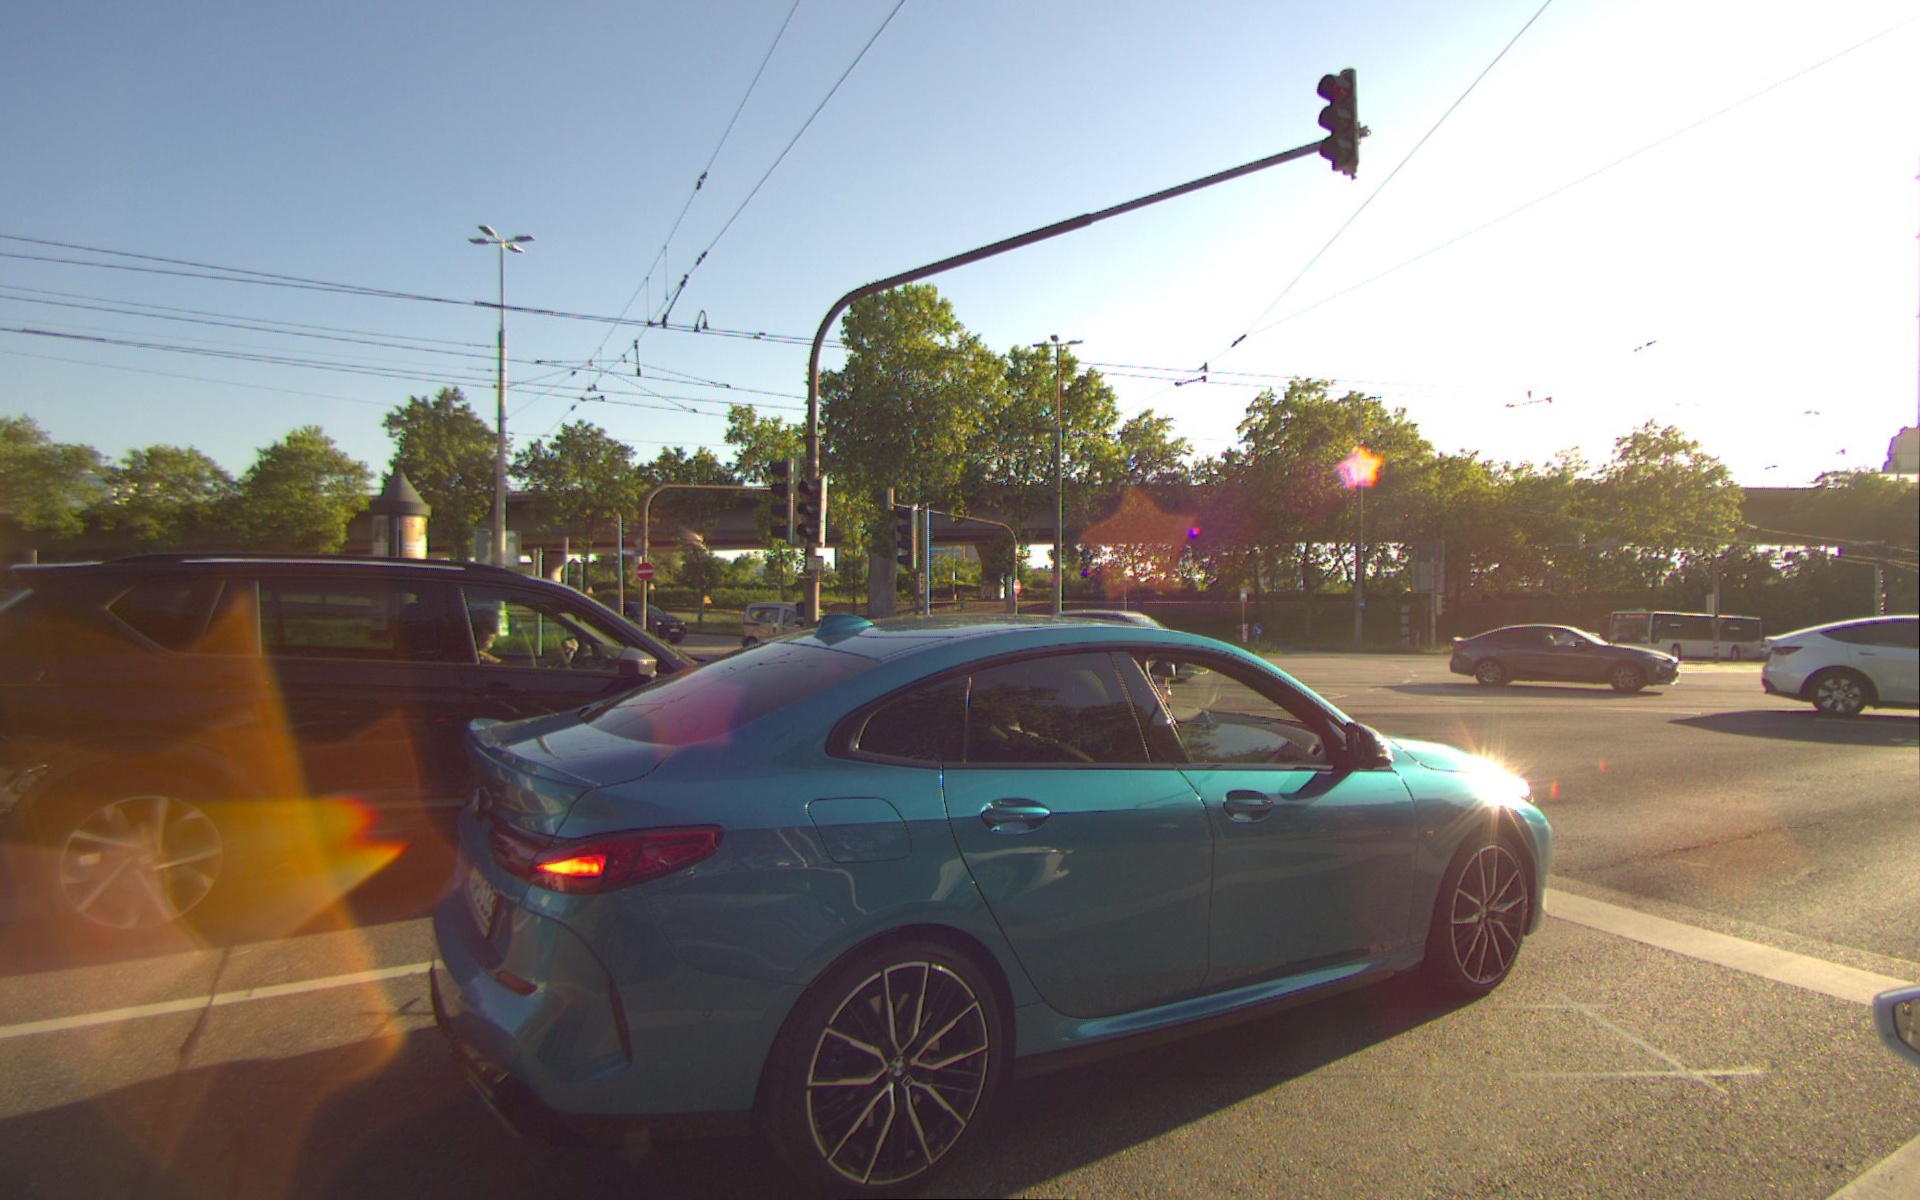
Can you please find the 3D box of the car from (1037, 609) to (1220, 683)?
[{"bbox_3d":[4.177,1.096,25.222,4.220,1.653,1.687,1,0,38],"label":"car"}]

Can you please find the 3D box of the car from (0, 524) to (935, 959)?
[{"bbox_3d":[-2.575,0.599,5.616,4.566,1.702,1.806,1,-1,-29],"label":"car"}]

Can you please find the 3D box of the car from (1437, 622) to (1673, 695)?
[{"bbox_3d":[13.496,1.268,22.940,4.424,1.387,1.685,1,-1,41],"label":"car"}]

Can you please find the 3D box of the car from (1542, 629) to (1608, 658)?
[{"bbox_3d":[35.069,2.461,57.283,3.964,1.532,1.598,2,0,-32],"label":"car"}]

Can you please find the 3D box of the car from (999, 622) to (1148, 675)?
[{"bbox_3d":[3.366,1.404,30.264,4.217,1.382,1.618,1,0,36],"label":"car"}]

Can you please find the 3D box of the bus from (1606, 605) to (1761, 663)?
[{"bbox_3d":[45.600,2.221,63.122,12.756,3.171,2.534,3,-2,-28],"label":"bus"}]

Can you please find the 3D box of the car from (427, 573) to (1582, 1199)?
[{"bbox_3d":[0.422,0.742,3.787,4.162,1.485,1.704,1,-1,-33],"label":"car"}]

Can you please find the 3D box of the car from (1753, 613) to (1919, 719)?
[{"bbox_3d":[15.544,1.057,15.876,4.695,1.595,1.686,1,-1,40],"label":"car"}]

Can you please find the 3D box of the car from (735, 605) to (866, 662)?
[{"bbox_3d":[-5.258,1.053,32.857,4.344,1.701,1.687,1,0,37],"label":"car"}]

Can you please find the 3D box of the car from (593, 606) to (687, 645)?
[{"bbox_3d":[-13.884,1.073,43.443,4.341,1.546,1.618,1,0,36],"label":"car"}]
